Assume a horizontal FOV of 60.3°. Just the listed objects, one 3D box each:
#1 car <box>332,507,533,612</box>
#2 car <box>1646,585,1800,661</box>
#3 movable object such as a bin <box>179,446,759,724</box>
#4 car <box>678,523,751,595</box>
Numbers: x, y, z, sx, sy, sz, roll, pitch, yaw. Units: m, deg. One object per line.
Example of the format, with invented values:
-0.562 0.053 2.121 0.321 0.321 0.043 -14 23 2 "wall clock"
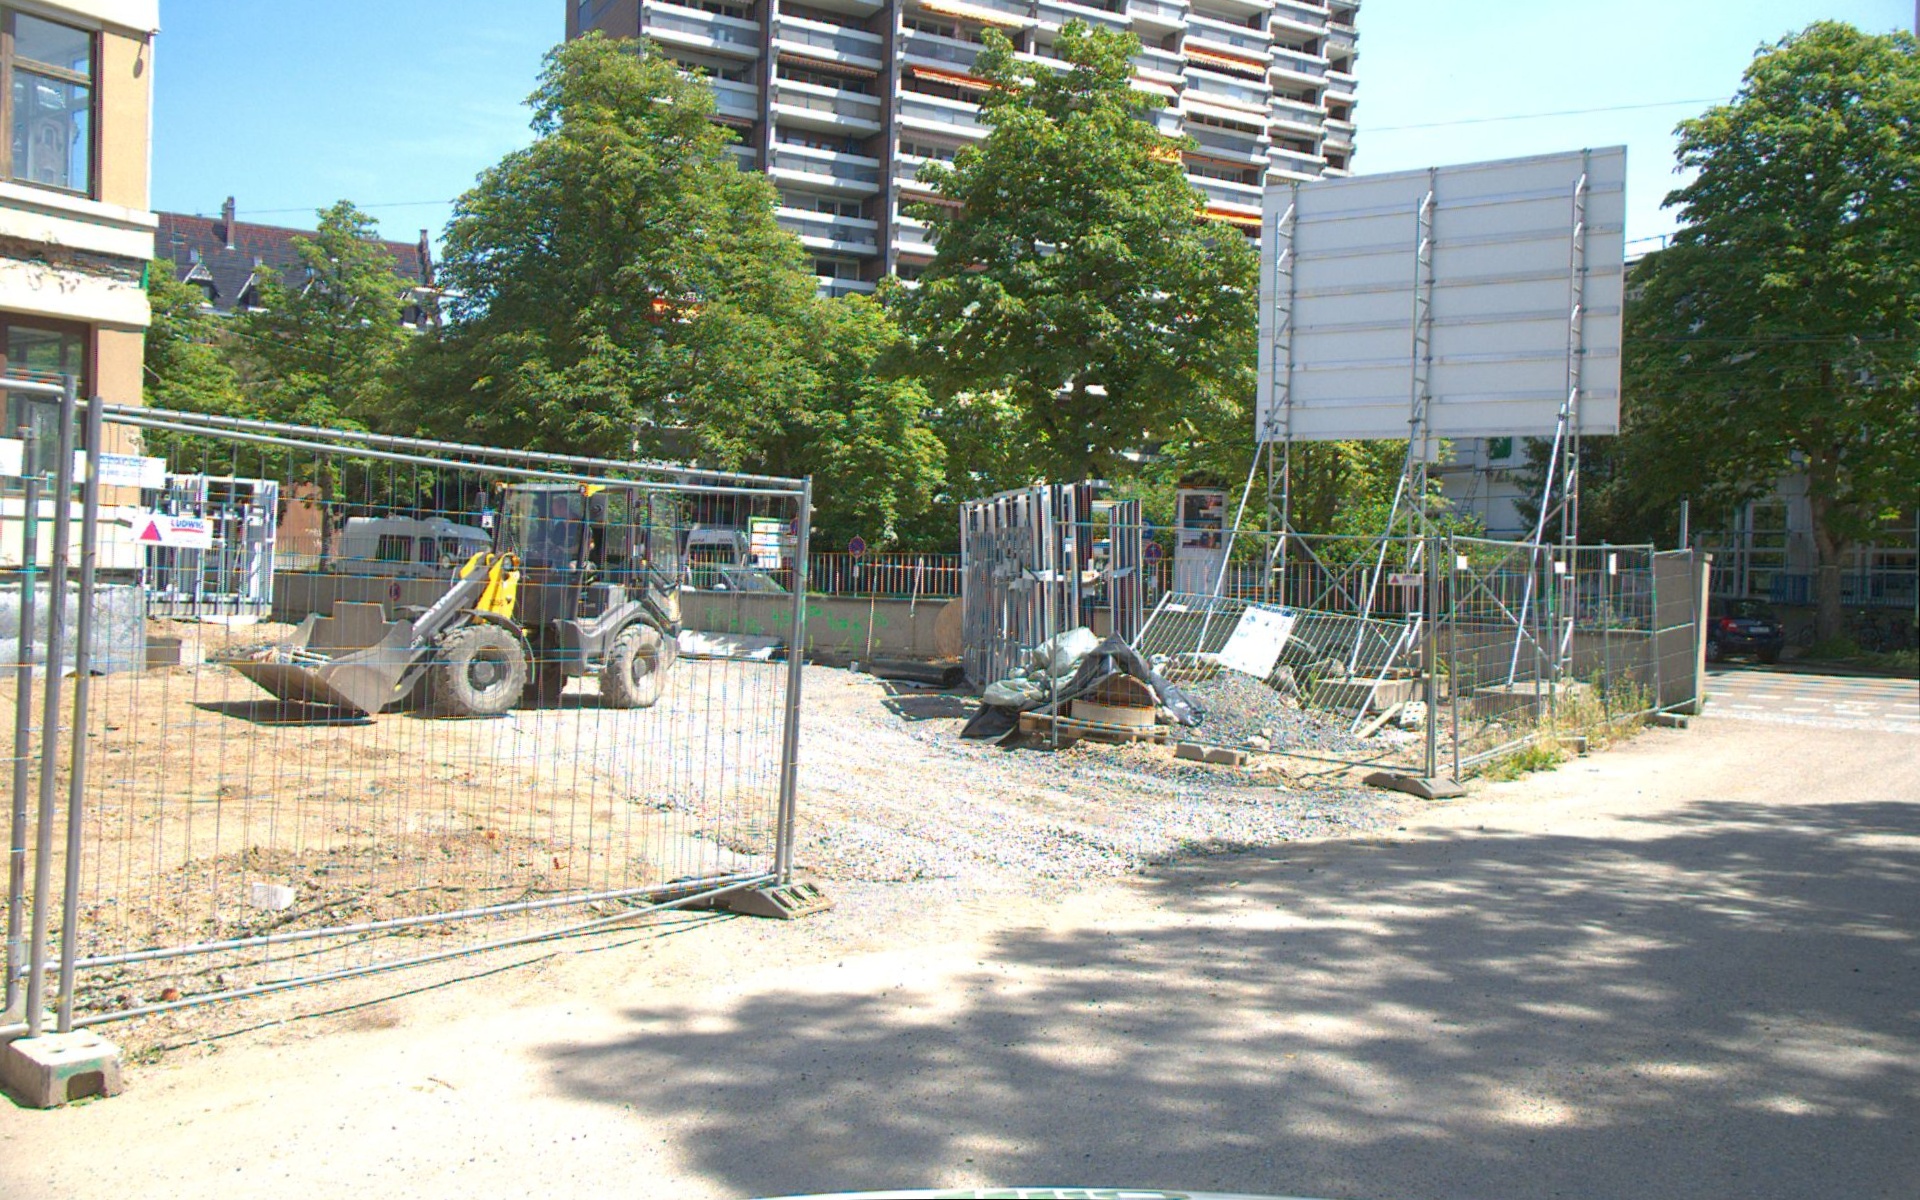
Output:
-13.086 -1.006 40.925 5.136 2.458 1.994 2 1 34 "car"
17.851 0.488 38.907 1.969 1.658 3.932 1 1 3 "car"
-5.045 -0.101 17.573 5.376 2.507 2.331 2 1 -43 "movable object such as a bin"
-8.367 -1.378 56.734 2.142 2.297 4.864 1 1 -5 "car"
